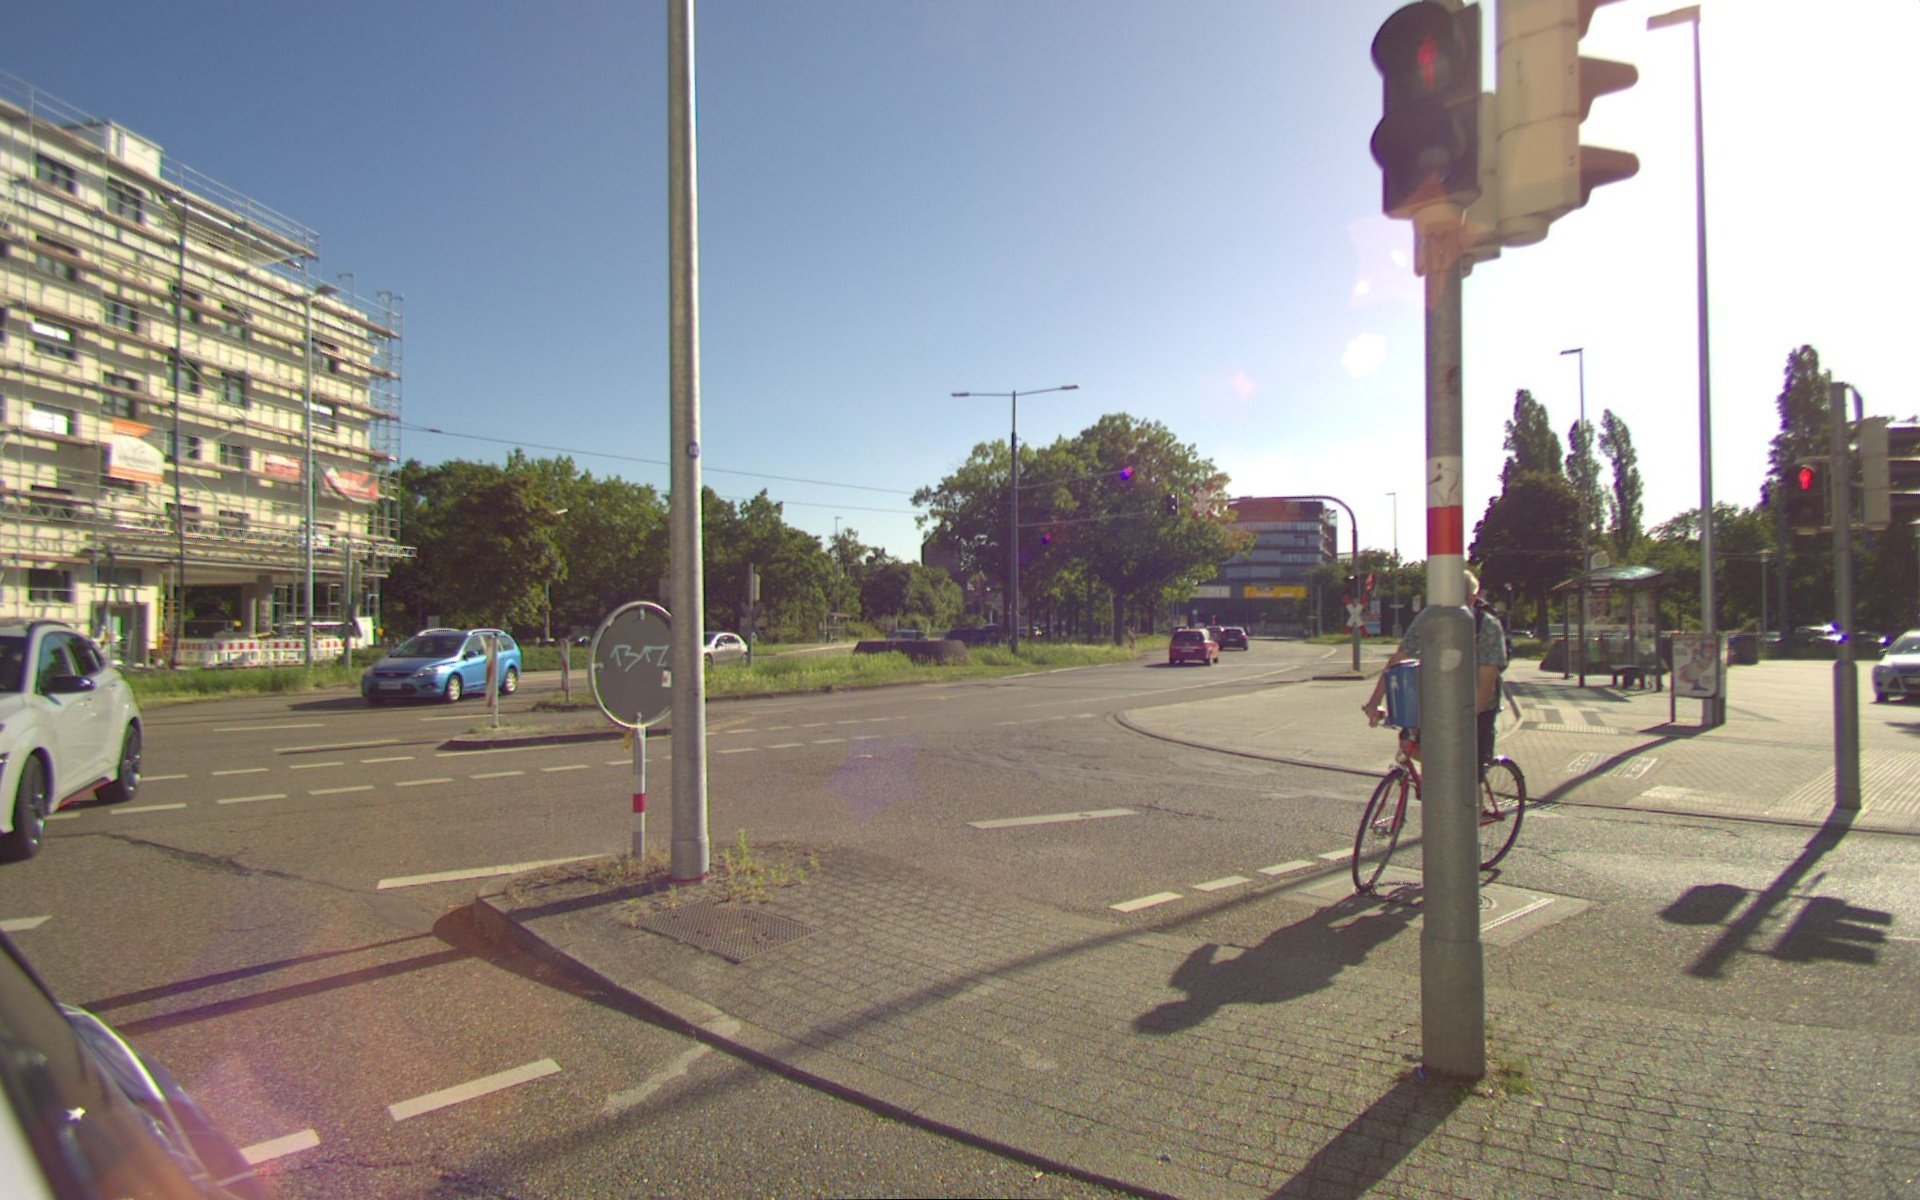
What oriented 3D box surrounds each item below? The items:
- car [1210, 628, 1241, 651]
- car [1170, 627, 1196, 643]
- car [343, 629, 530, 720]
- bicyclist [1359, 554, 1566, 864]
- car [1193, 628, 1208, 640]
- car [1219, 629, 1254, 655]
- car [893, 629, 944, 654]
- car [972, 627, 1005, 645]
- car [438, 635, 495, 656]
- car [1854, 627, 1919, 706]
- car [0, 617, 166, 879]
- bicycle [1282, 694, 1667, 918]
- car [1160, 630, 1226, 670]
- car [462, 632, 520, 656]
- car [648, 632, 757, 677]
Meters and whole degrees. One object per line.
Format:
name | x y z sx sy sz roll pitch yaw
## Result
car | 19.667 2.929 74.872 1.984 1.675 4.458 -1 -2 18
car | 24.425 3.808 110.941 1.974 1.675 4.480 0 -2 3
car | -11.337 1.545 22.328 1.847 1.789 4.485 0 -2 -1
bicyclist | 2.772 0.568 5.649 0.585 1.576 0.830 1 -2 -21
car | 39.548 5.599 166.385 1.977 2.029 3.989 0 -2 8
car | 17.265 2.616 63.259 1.981 1.564 4.463 -1 -2 15
car | -2.473 2.510 61.789 1.857 1.467 4.462 -1 -2 15
car | 2.458 3.059 86.654 1.857 1.467 4.462 -1 -2 15
car | -34.184 3.149 70.186 1.802 1.405 3.673 0 -2 10
car | 19.867 1.323 20.904 1.680 1.519 3.553 -2 -2 35
car | -7.329 0.931 7.128 1.873 1.564 4.499 1 -2 -27
bicycle | 2.867 1.072 5.665 1.912 0.994 0.832 1 -2 -21
car | 9.853 2.057 42.588 1.987 1.564 4.450 -1 -2 22
car | -32.079 2.988 69.339 1.802 1.596 3.673 0 -2 10
car | -8.972 1.881 35.706 1.856 1.467 4.464 -1 -2 14
